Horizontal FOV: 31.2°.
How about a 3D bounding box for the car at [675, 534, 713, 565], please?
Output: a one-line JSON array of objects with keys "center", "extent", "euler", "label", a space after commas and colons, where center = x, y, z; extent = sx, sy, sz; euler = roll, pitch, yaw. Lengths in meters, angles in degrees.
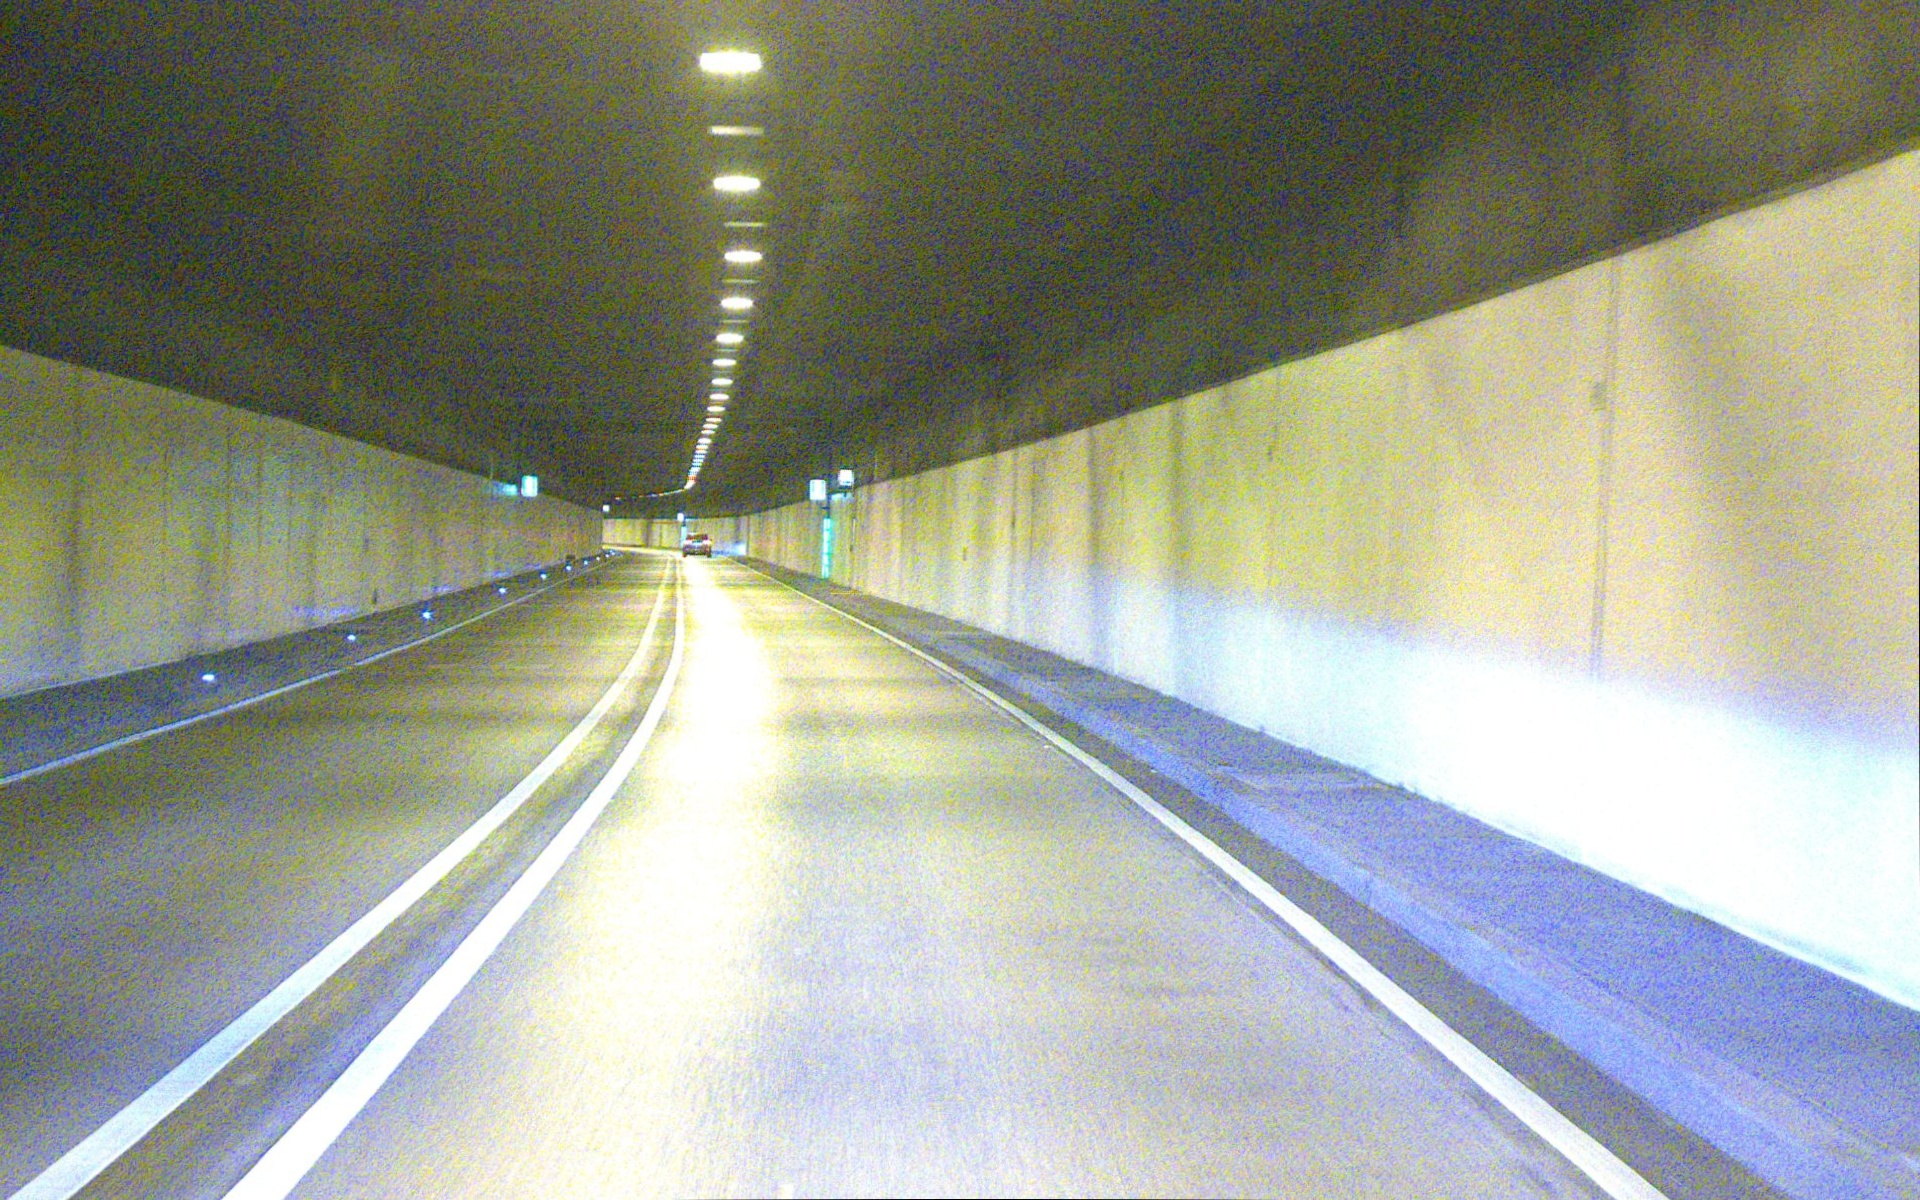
[{"center": [-17.170, -3.250, 221.795], "extent": [1.966, 1.932, 4.614], "euler": [2, 0, -9], "label": "car"}]
